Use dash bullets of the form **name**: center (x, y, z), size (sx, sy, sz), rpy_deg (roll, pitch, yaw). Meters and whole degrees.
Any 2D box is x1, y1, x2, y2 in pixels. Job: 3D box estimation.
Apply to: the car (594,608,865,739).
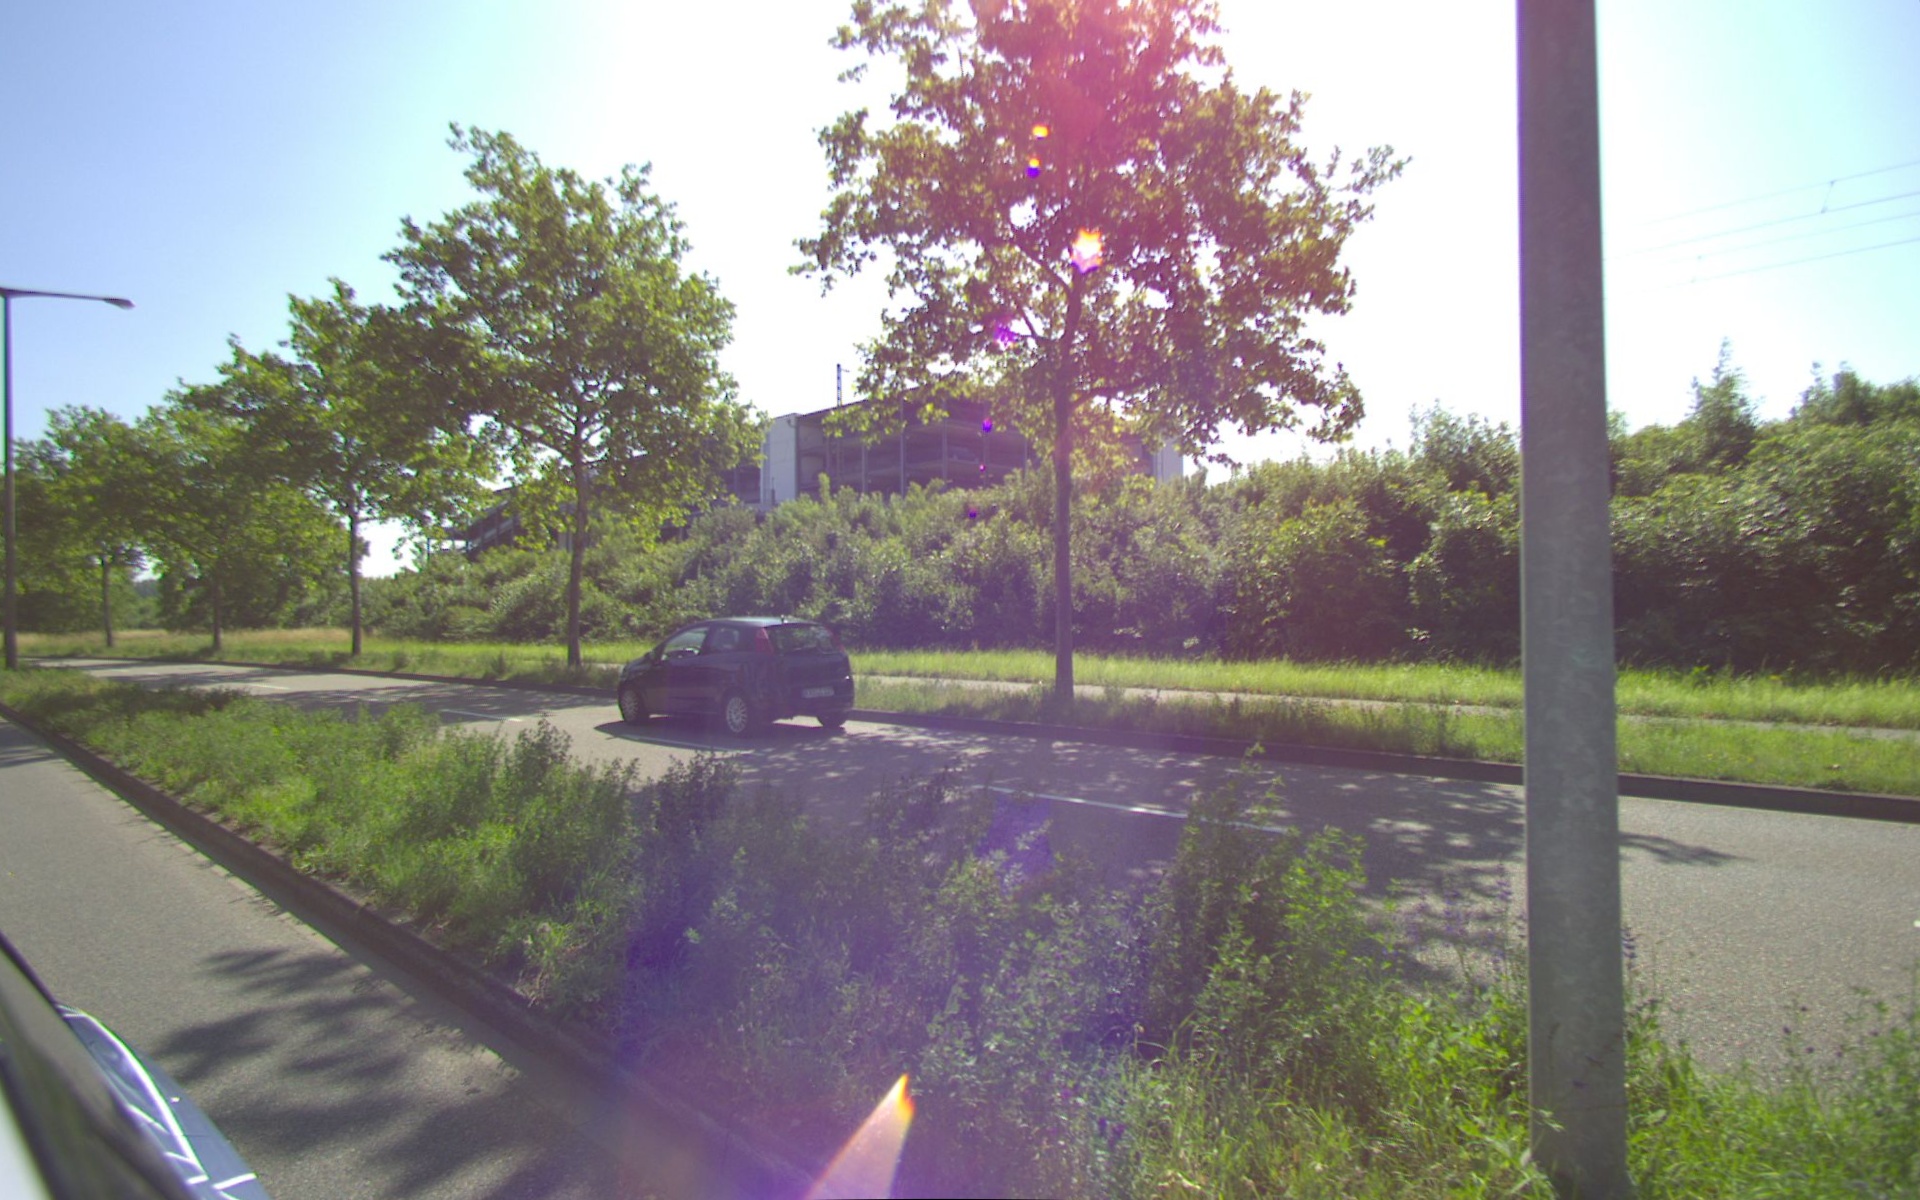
- **car**: center (-3.188, 0.879, 13.570), size (3.926, 1.481, 1.553), rpy_deg (-1, 0, 42)
